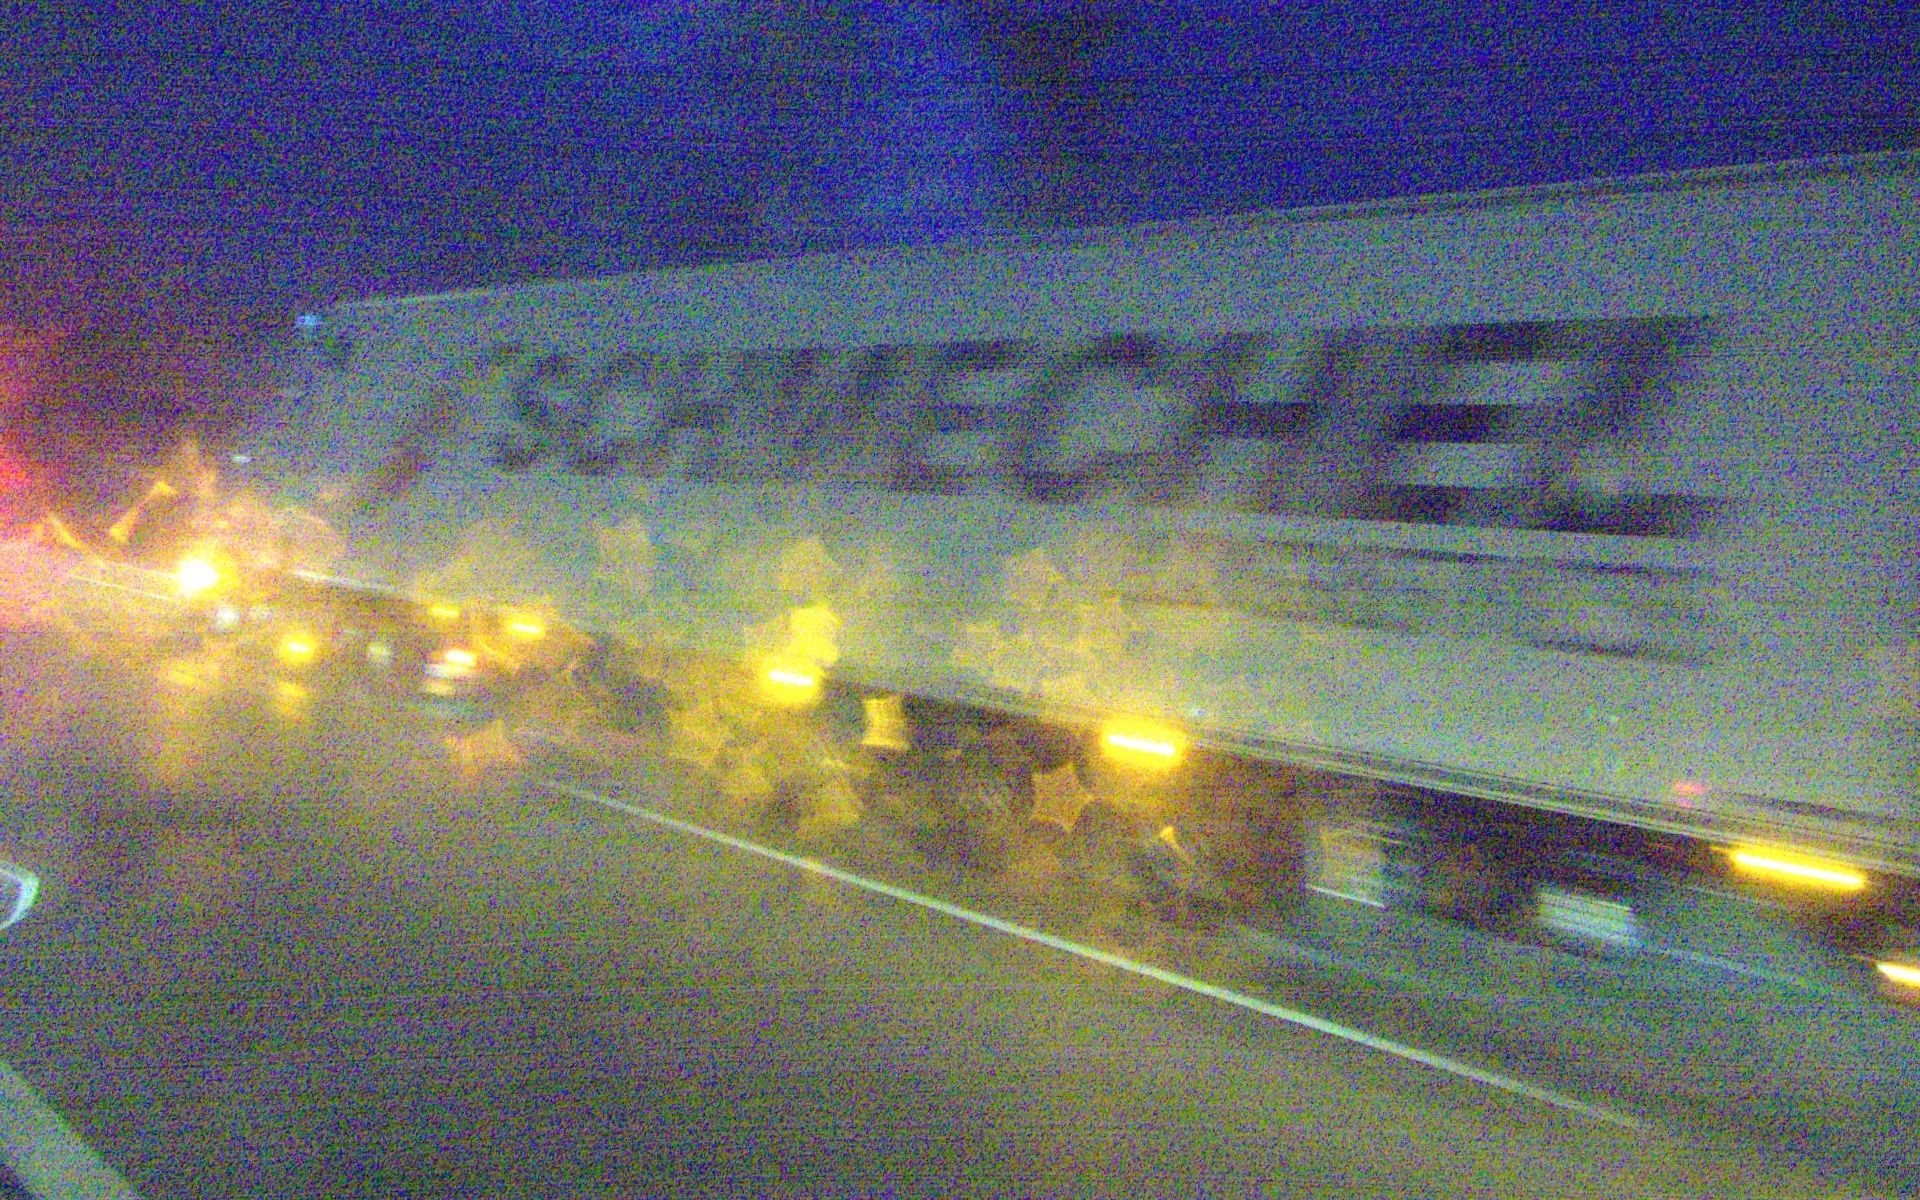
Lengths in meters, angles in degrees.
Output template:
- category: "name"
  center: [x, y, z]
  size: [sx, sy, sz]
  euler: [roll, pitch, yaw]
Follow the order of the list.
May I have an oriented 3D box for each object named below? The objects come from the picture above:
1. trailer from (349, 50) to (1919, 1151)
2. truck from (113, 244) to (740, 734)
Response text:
- category: "trailer"
  center: [0.148, -0.432, 7.754]
  size: [11.895, 4.262, 2.809]
  euler: [7, -1, 31]
- category: "truck"
  center: [-6.524, -1.204, 11.895]
  size: [7.324, 4.317, 2.809]
  euler: [7, -1, 31]
